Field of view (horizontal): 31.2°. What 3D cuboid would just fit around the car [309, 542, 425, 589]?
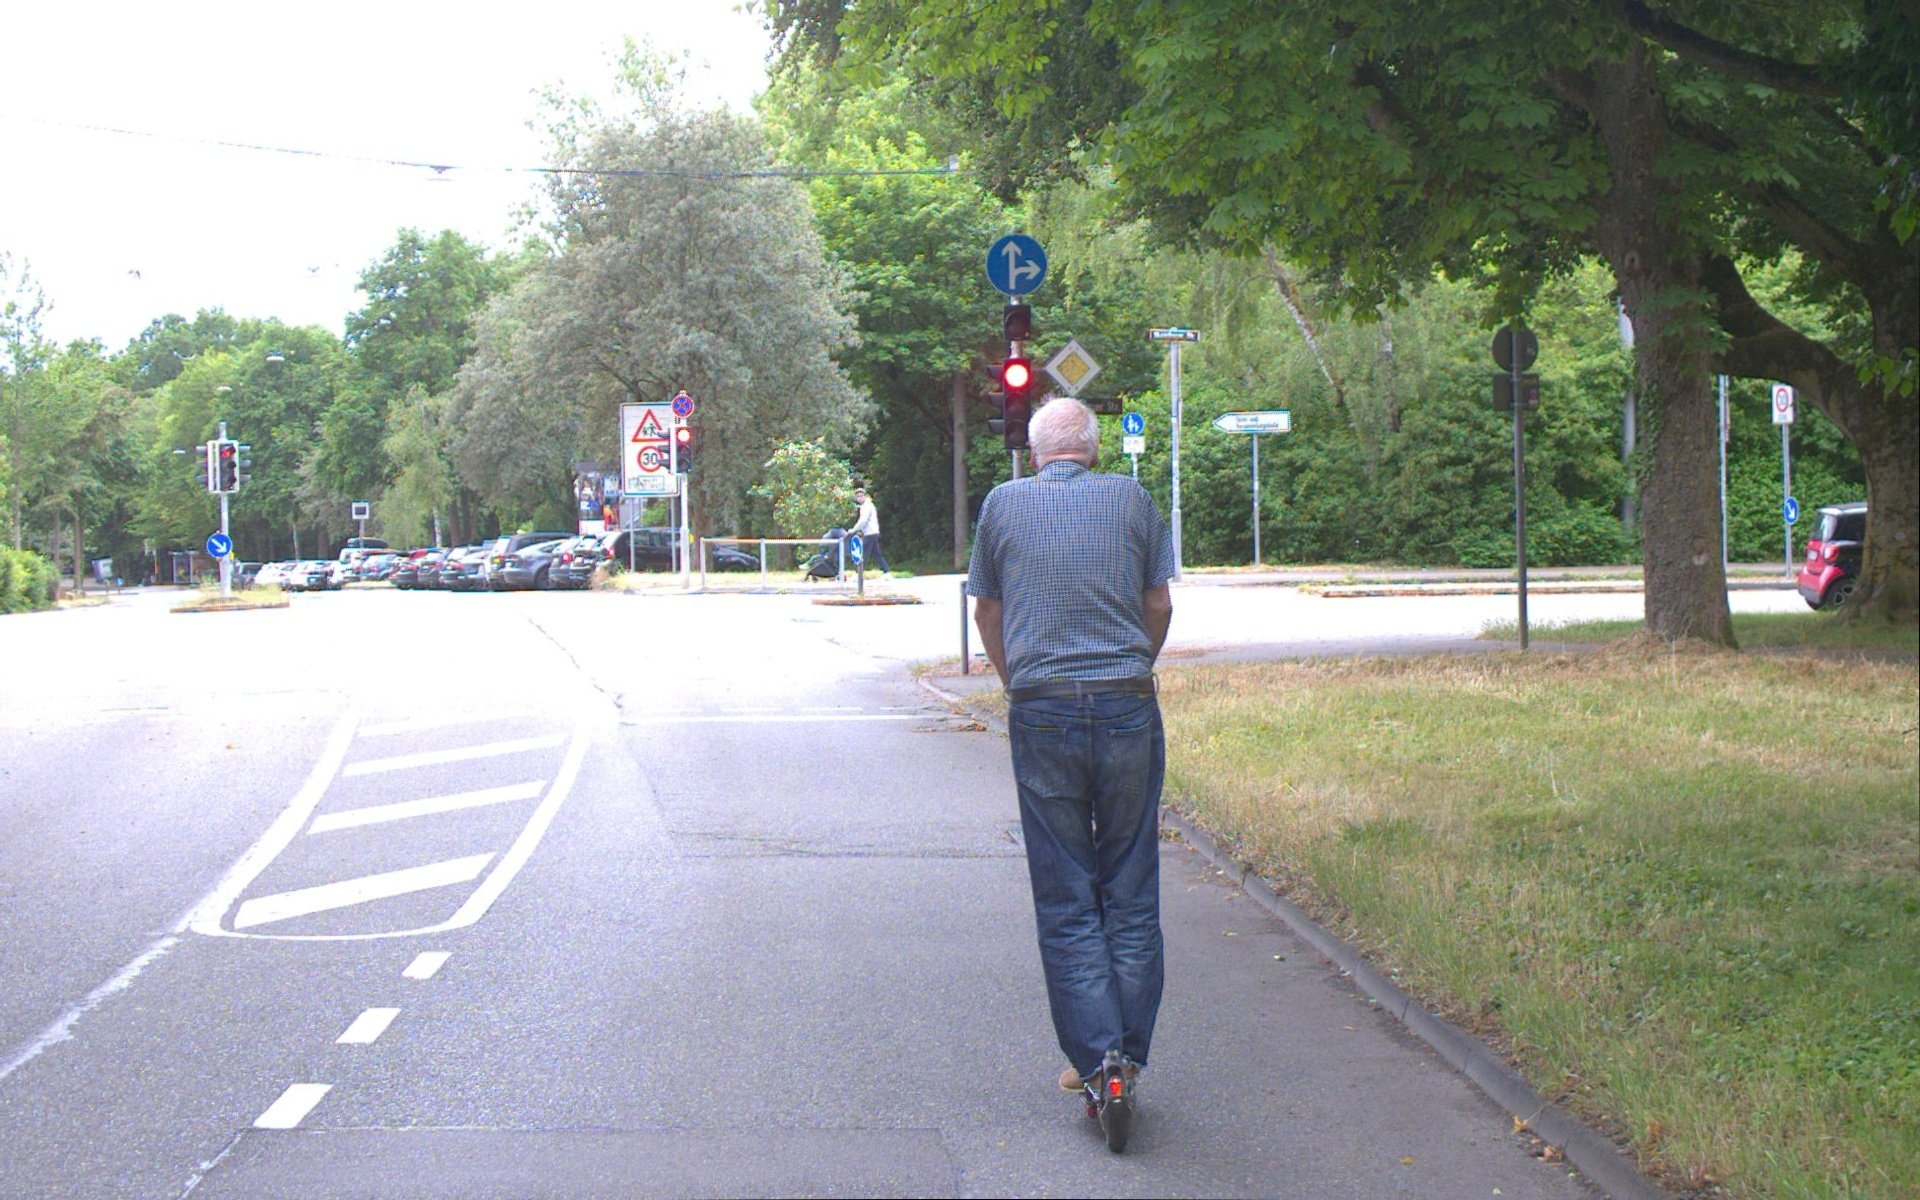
[{"bbox_3d":[-21.238,-1.246,123.270,3.986,1.505,1.800,-2,1,-7],"label":"car"}]

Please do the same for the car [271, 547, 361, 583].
[{"bbox_3d":[-30.167,-1.639,161.047,3.986,1.505,1.800,-2,1,-7],"label":"car"}]

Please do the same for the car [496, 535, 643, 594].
[{"bbox_3d":[-10.917,-0.996,96.050,3.986,1.505,1.800,-2,1,-7],"label":"car"}]

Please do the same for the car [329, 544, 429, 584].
[{"bbox_3d":[-24.116,-1.501,142.714,3.986,1.505,1.800,-2,1,-7],"label":"car"}]

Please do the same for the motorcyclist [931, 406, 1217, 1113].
[{"bbox_3d":[0.281,0.391,8.870,0.672,1.755,0.639,0,1,-4],"label":"motorcyclist"}]

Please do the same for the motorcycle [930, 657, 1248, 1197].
[{"bbox_3d":[0.296,0.774,8.672,0.672,1.213,1.274,0,1,-4],"label":"motorcycle"}]

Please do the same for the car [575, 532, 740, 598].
[{"bbox_3d":[-7.569,-0.890,85.890,3.986,1.505,1.800,-2,1,-7],"label":"car"}]

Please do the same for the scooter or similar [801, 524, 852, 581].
[{"bbox_3d":[-2.468,-0.883,63.716,0.710,1.045,0.787,-1,1,14],"label":"scooter or similar"}]

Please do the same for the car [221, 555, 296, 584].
[{"bbox_3d":[-39.651,-1.724,194.394,3.986,1.505,1.800,-2,1,-7],"label":"car"}]

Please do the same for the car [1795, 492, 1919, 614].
[{"bbox_3d":[13.505,-0.647,46.747,3.988,1.551,1.800,0,4,8],"label":"car"}]

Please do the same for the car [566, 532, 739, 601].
[{"bbox_3d":[-7.378,-0.816,82.315,3.986,1.505,1.800,-2,1,-7],"label":"car"}]

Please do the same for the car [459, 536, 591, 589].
[{"bbox_3d":[-13.486,-1.174,106.596,3.986,1.505,1.800,-2,1,-7],"label":"car"}]

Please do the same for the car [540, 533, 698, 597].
[{"bbox_3d":[-8.873,-0.919,89.353,3.986,1.505,1.800,-2,1,-7],"label":"car"}]

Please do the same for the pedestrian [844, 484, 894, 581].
[{"bbox_3d":[-1.673,-1.242,63.348,0.732,1.755,0.661,-1,1,14],"label":"pedestrian"}]

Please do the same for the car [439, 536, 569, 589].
[{"bbox_3d":[-14.387,-1.188,108.427,3.986,1.505,1.800,-2,1,-7],"label":"car"}]

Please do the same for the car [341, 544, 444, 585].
[{"bbox_3d":[-23.071,-1.454,139.869,3.986,1.505,1.800,-2,1,-7],"label":"car"}]

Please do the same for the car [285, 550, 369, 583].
[{"bbox_3d":[-31.779,-1.705,172.647,3.986,1.505,1.800,-2,1,-7],"label":"car"}]
